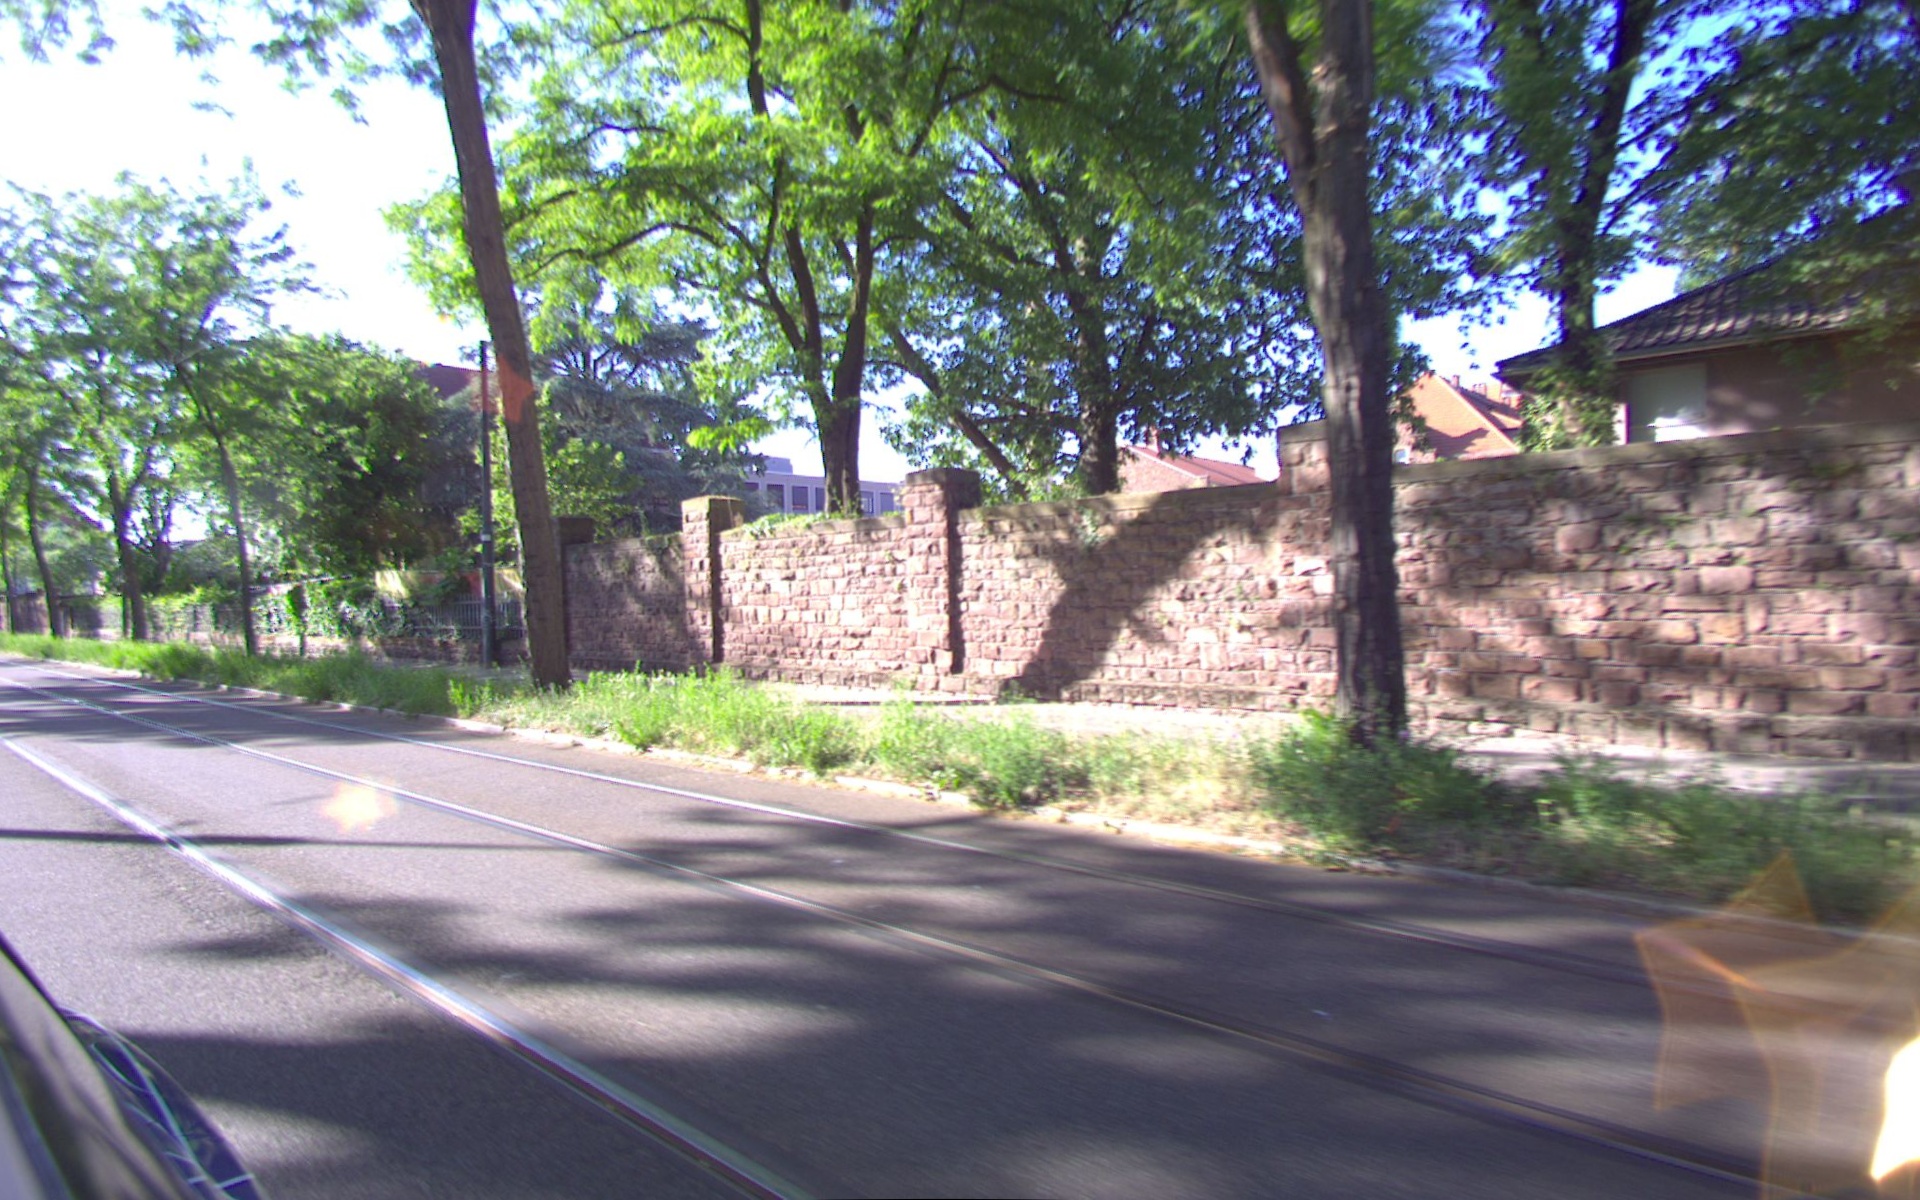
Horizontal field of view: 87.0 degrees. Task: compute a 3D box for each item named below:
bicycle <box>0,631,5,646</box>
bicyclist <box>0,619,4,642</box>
[{"bbox_3d":[-65.040,2.602,68.241,1.888,0.981,0.710,0,3,41],"label":"bicycle"},{"bbox_3d":[-65.062,2.056,68.221,0.956,1.510,0.702,-1,3,41],"label":"bicyclist"}]
